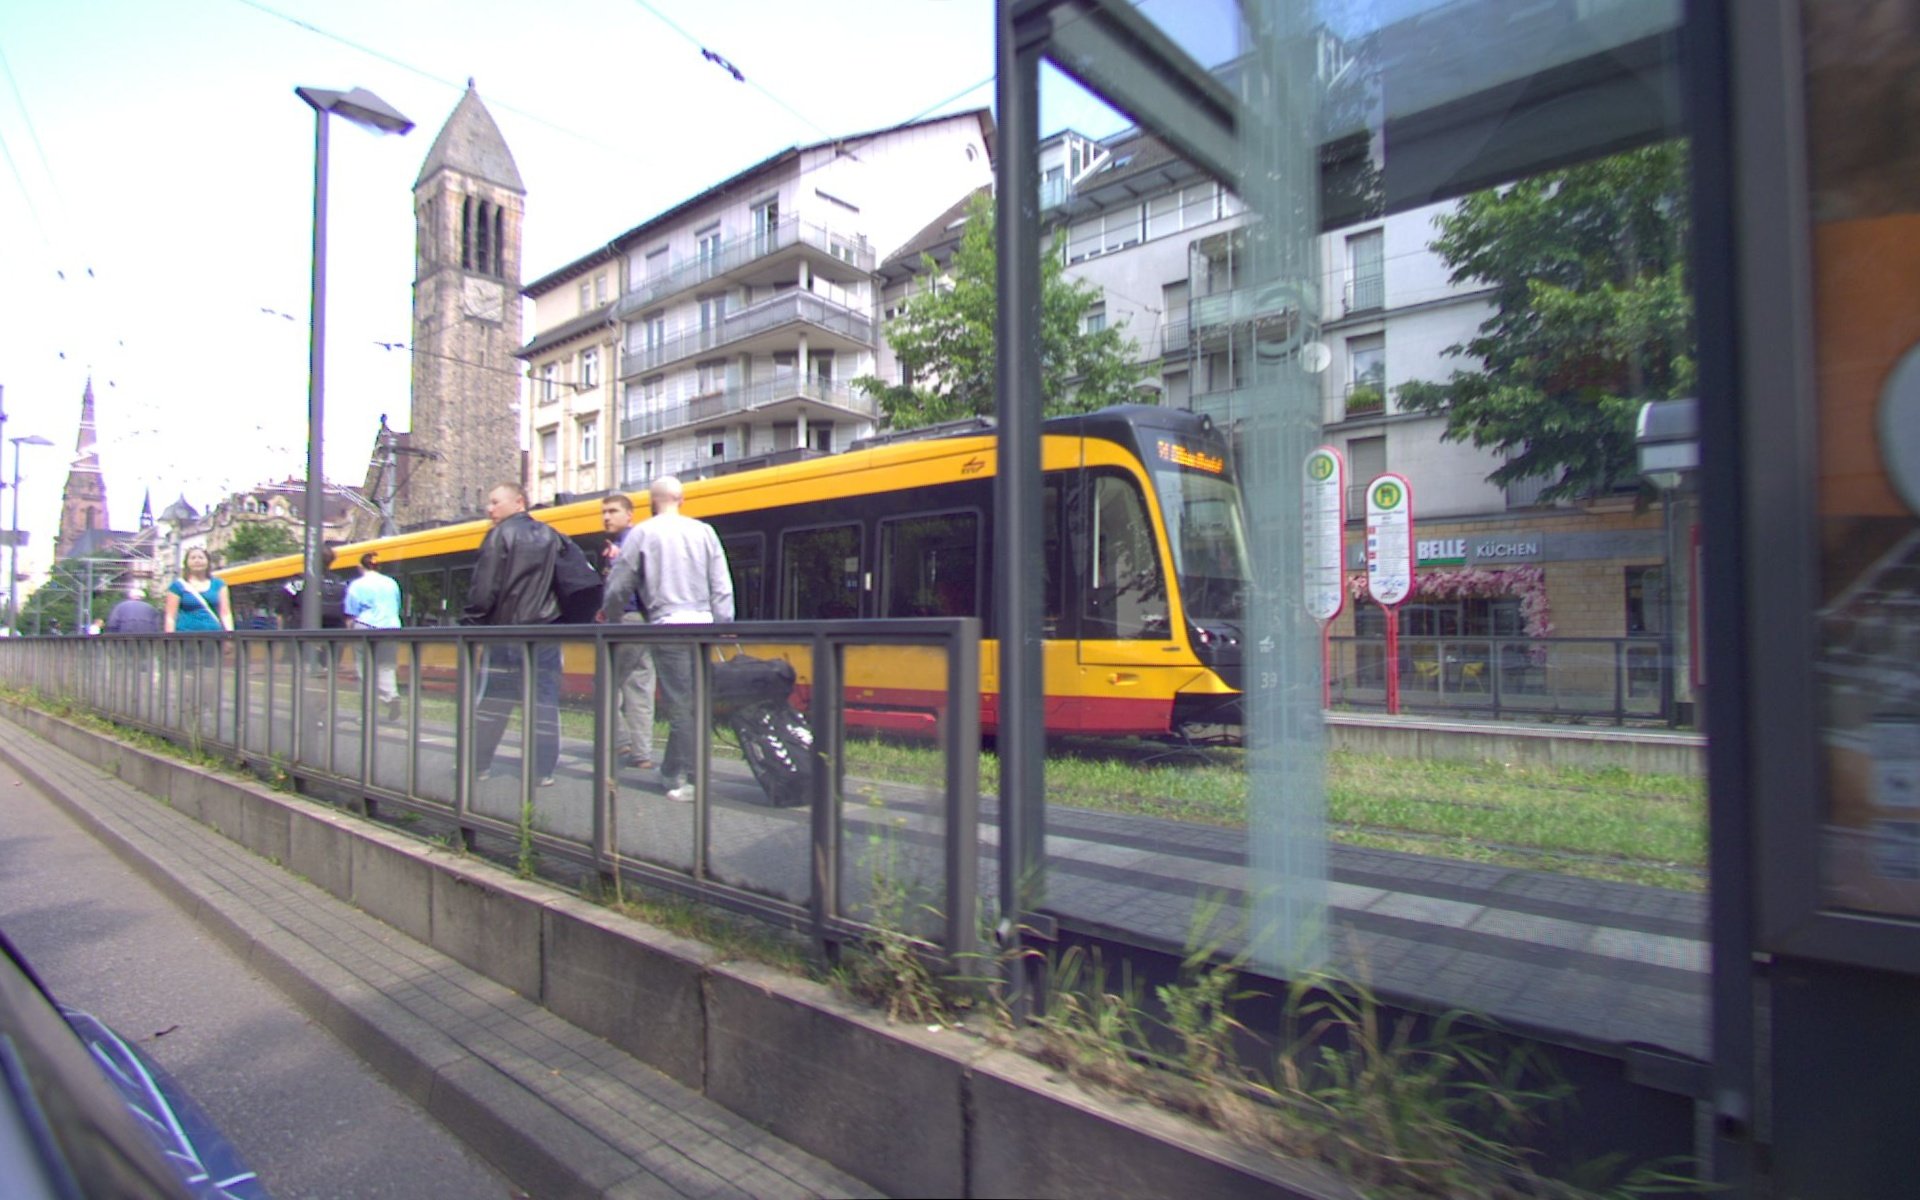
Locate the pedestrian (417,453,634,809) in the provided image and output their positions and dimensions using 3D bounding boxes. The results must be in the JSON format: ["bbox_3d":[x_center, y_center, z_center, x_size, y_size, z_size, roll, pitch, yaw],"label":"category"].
[{"bbox_3d":[-2.579,0.183,6.007,1.030,1.887,0.802,-2,-3,41],"label":"pedestrian"}]

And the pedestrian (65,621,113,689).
[{"bbox_3d":[-23.565,1.483,27.372,1.045,1.794,0.839,-2,-3,42],"label":"pedestrian"}]

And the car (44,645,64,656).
[{"bbox_3d":[-125.954,6.996,140.691,4.133,1.517,1.794,-3,-3,45],"label":"car"}]

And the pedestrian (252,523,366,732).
[{"bbox_3d":[-6.163,0.262,9.584,0.789,1.863,0.694,-2,-3,41],"label":"pedestrian"}]

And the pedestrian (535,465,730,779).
[{"bbox_3d":[-2.104,0.146,6.485,1.132,1.814,0.704,-2,-3,41],"label":"pedestrian"}]

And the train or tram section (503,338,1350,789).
[{"bbox_3d":[-1.864,-0.092,13.455,13.012,3.611,2.694,-2,-3,42],"label":"train or tram section"}]

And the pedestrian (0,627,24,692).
[{"bbox_3d":[-25.045,1.553,26.441,0.615,1.678,0.678,1,-3,-22],"label":"pedestrian"}]

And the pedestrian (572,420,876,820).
[{"bbox_3d":[-1.284,0.118,5.412,1.494,1.814,0.877,-2,-3,41],"label":"pedestrian"}]

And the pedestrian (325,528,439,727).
[{"bbox_3d":[-5.730,0.275,10.032,0.907,1.863,0.694,-2,-3,41],"label":"pedestrian"}]

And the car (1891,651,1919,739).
[{"bbox_3d":[16.884,1.502,15.721,3.476,1.382,1.701,-2,-3,42],"label":"car"}]

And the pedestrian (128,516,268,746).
[{"bbox_3d":[-6.783,0.270,9.015,0.846,1.913,0.818,-2,-3,42],"label":"pedestrian"}]

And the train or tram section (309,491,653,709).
[{"bbox_3d":[-10.500,0.171,21.328,10.400,3.611,2.766,-2,-3,42],"label":"train or tram section"}]

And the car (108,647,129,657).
[{"bbox_3d":[-105.846,6.562,127.344,3.063,1.243,1.632,-3,-3,43],"label":"car"}]

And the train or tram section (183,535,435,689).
[{"bbox_3d":[-19.173,0.499,29.177,13.012,3.611,2.777,-2,-3,42],"label":"train or tram section"}]

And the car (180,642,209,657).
[{"bbox_3d":[-78.181,5.088,103.342,3.837,1.507,1.764,-3,-3,43],"label":"car"}]

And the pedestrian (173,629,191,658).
[{"bbox_3d":[-48.337,2.698,62.870,0.743,1.744,0.761,-2,-4,42],"label":"pedestrian"}]

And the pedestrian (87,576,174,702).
[{"bbox_3d":[-12.282,0.572,14.990,0.876,1.788,0.848,-2,-3,42],"label":"pedestrian"}]
